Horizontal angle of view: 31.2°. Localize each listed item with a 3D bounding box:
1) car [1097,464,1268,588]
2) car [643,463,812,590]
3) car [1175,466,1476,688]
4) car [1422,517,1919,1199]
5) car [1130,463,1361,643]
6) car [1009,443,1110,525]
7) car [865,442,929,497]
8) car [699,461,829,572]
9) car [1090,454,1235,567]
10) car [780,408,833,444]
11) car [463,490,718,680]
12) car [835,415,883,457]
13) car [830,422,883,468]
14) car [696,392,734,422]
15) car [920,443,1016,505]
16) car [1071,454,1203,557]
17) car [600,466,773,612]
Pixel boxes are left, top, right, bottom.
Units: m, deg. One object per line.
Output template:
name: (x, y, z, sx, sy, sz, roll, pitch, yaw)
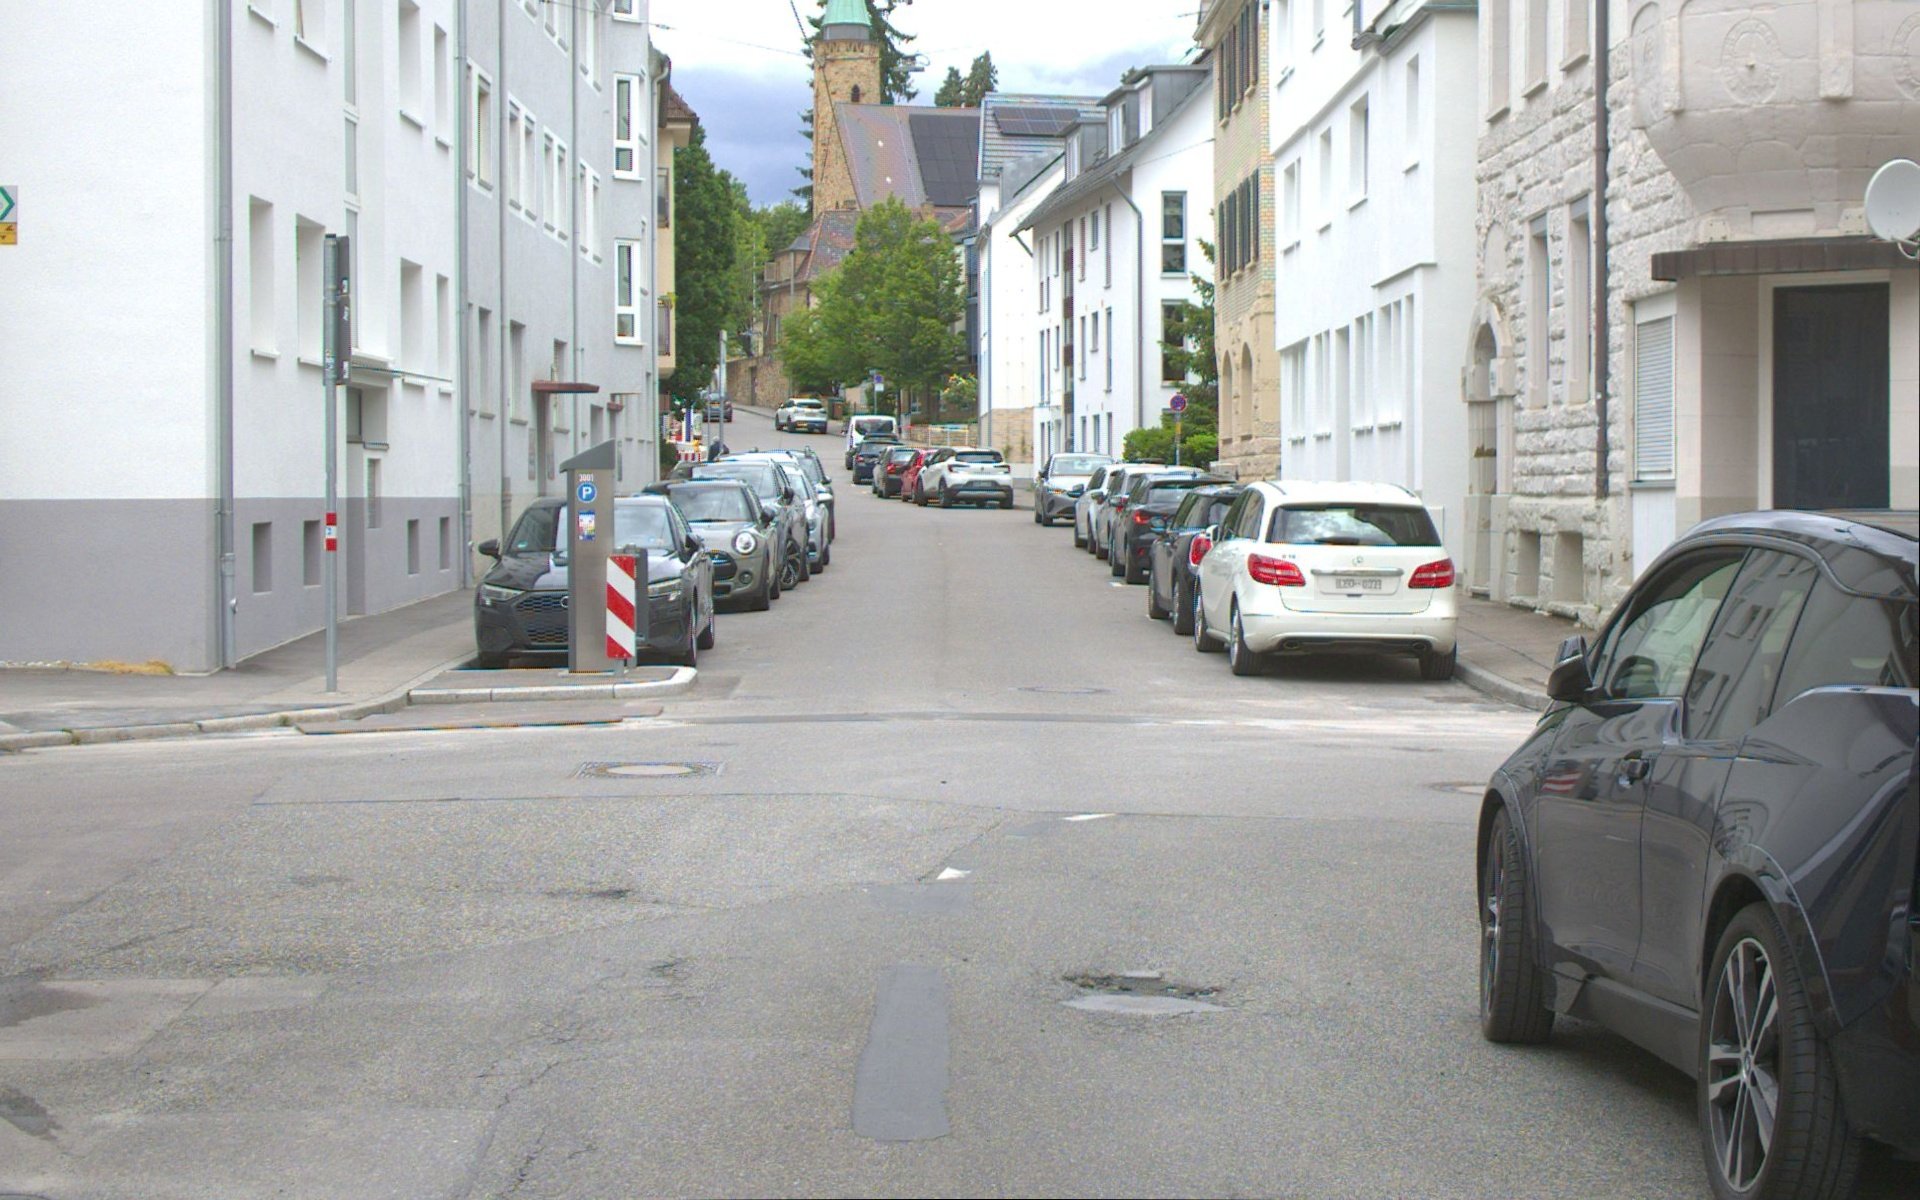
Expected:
car: (2.802, -0.986, 44.062, 1.667, 1.380, 4.029, 2, 3, -3)
car: (-2.869, -0.953, 43.075, 1.730, 1.464, 3.720, -1, 3, 2)
car: (2.963, -0.254, 28.697, 1.820, 1.593, 4.029, 2, 3, -3)
car: (2.461, 0.590, 8.593, 1.817, 1.538, 4.028, 2, 1, -3)
car: (2.737, -0.510, 33.743, 1.667, 1.527, 4.029, 2, 3, -3)
car: (1.940, -2.311, 68.050, 1.667, 1.474, 3.627, 2, 3, -3)
car: (-1.796, -3.709, 97.451, 1.667, 1.474, 3.627, 0, 3, -3)
car: (-2.714, -1.206, 48.255, 1.730, 1.443, 3.720, -1, 3, -2)
car: (2.919, -1.335, 50.202, 1.667, 1.474, 3.627, 2, 3, -3)
car: (-7.386, -8.354, 164.953, 2.181, 1.687, 3.627, 0, 3, -8)
car: (-3.040, -0.188, 29.031, 1.820, 1.386, 4.299, -1, 3, -2)
car: (-3.730, -6.041, 126.128, 1.667, 1.474, 3.627, 0, 3, -3)
car: (-3.460, -5.175, 114.409, 1.667, 1.474, 3.627, 0, 3, -3)
car: (-12.486, -9.840, 175.099, 1.667, 1.474, 3.627, 0, 3, -8)
car: (0.178, -3.184, 86.468, 1.783, 1.474, 3.627, 0, 3, -10)
car: (2.791, -1.537, 54.872, 1.667, 1.474, 3.627, 2, 3, -3)
car: (-2.997, -0.718, 38.280, 1.730, 1.484, 3.720, -1, 3, -2)
